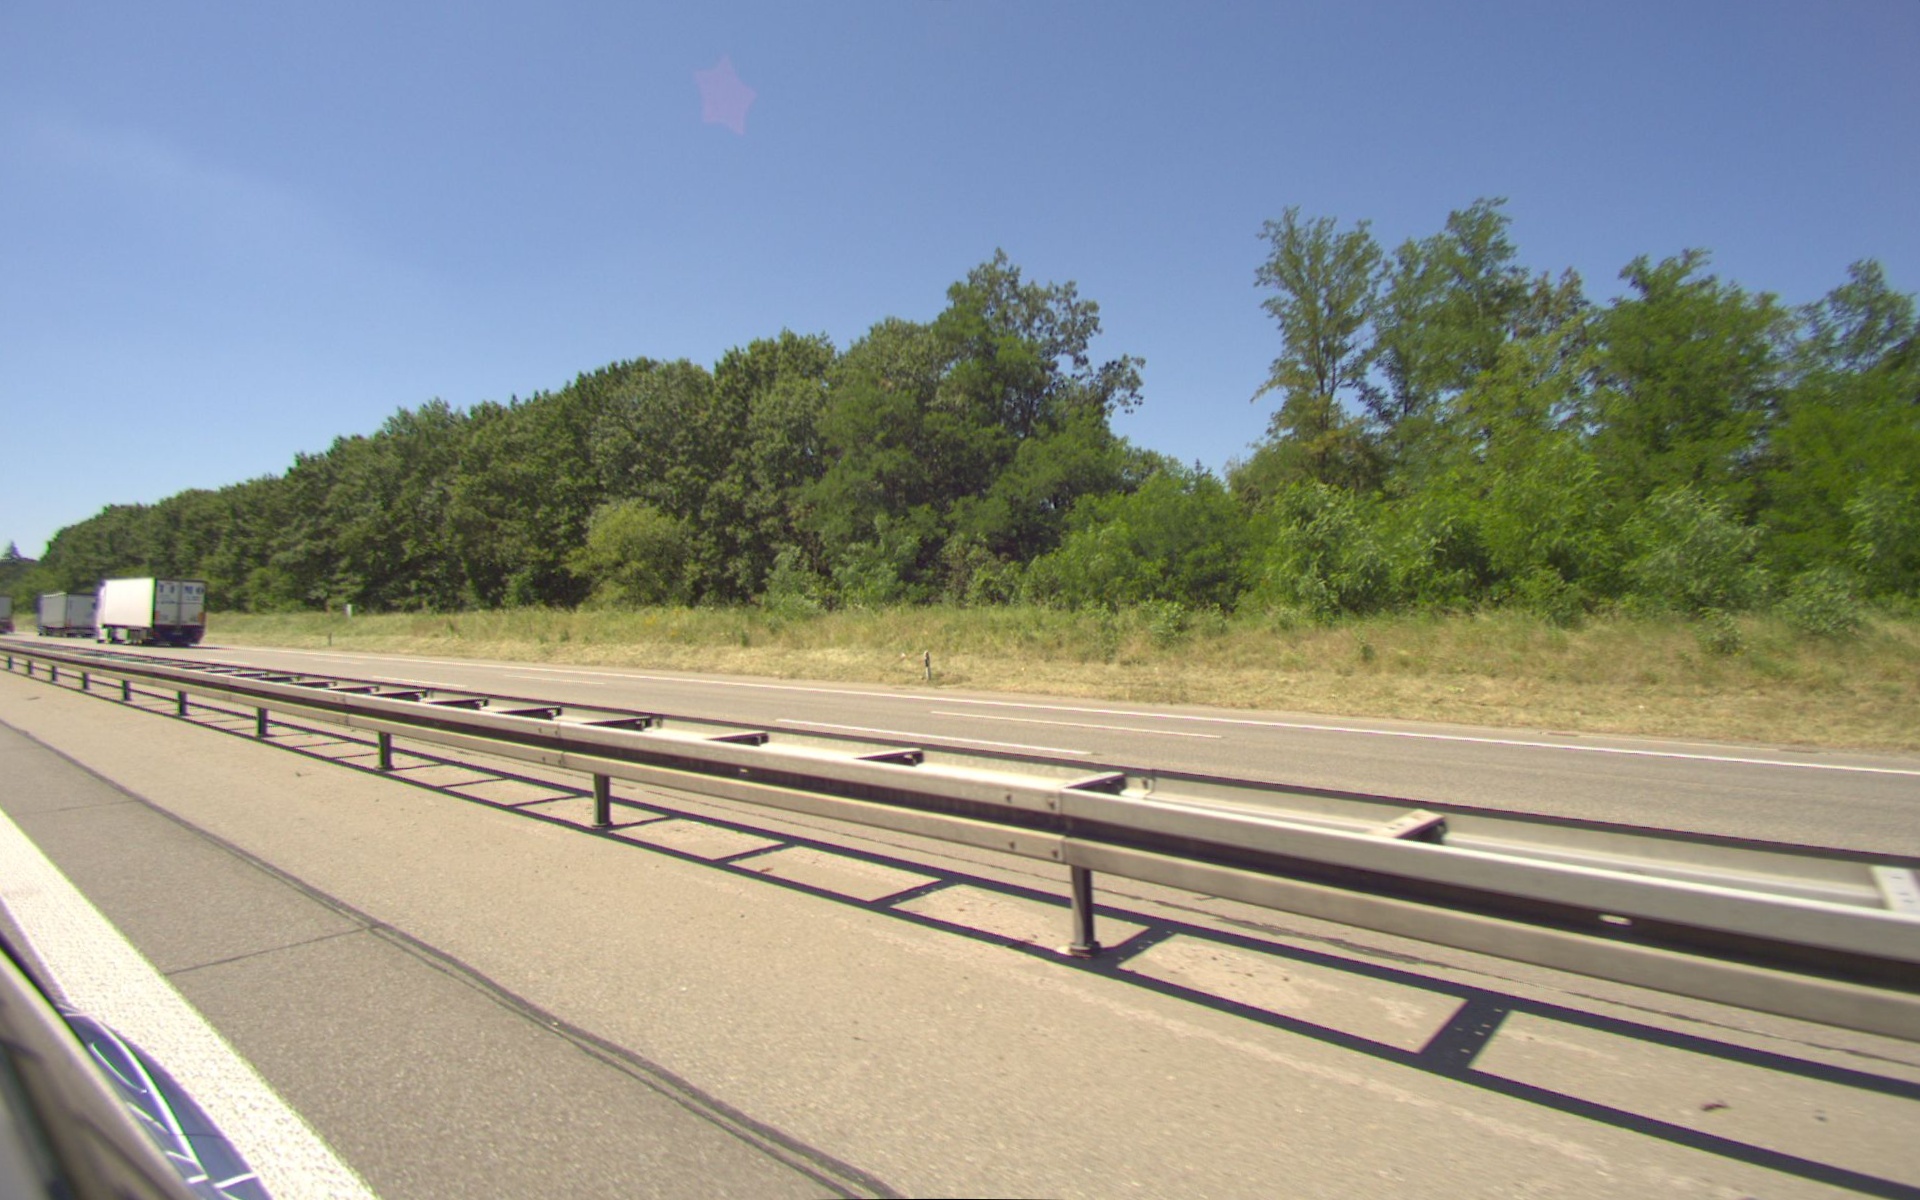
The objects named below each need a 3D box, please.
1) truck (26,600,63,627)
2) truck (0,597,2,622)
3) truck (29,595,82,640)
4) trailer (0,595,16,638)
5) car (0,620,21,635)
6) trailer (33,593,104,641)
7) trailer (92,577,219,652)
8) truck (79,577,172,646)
[{"bbox_3d":[-96.760,1.441,106.954,6.104,2.789,2.135,-1,0,41],"label":"truck"},{"bbox_3d":[-107.369,1.745,110.198,7.109,4.216,3.494,-1,-4,41],"label":"truck"},{"bbox_3d":[-89.698,1.711,100.285,6.036,4.216,2.902,-1,-4,41],"label":"truck"},{"bbox_3d":[-102.236,1.666,105.819,13.654,4.216,3.494,-1,-4,41],"label":"trailer"},{"bbox_3d":[-124.010,3.591,131.834,5.234,1.869,1.812,-1,-3,41],"label":"car"},{"bbox_3d":[-84.611,1.632,95.899,13.846,4.216,2.902,-1,-4,41],"label":"trailer"},{"bbox_3d":[-50.821,0.953,63.688,13.597,4.216,3.494,-1,-4,41],"label":"trailer"},{"bbox_3d":[-56.915,0.860,68.980,7.054,4.354,3.494,-1,-4,41],"label":"truck"}]
